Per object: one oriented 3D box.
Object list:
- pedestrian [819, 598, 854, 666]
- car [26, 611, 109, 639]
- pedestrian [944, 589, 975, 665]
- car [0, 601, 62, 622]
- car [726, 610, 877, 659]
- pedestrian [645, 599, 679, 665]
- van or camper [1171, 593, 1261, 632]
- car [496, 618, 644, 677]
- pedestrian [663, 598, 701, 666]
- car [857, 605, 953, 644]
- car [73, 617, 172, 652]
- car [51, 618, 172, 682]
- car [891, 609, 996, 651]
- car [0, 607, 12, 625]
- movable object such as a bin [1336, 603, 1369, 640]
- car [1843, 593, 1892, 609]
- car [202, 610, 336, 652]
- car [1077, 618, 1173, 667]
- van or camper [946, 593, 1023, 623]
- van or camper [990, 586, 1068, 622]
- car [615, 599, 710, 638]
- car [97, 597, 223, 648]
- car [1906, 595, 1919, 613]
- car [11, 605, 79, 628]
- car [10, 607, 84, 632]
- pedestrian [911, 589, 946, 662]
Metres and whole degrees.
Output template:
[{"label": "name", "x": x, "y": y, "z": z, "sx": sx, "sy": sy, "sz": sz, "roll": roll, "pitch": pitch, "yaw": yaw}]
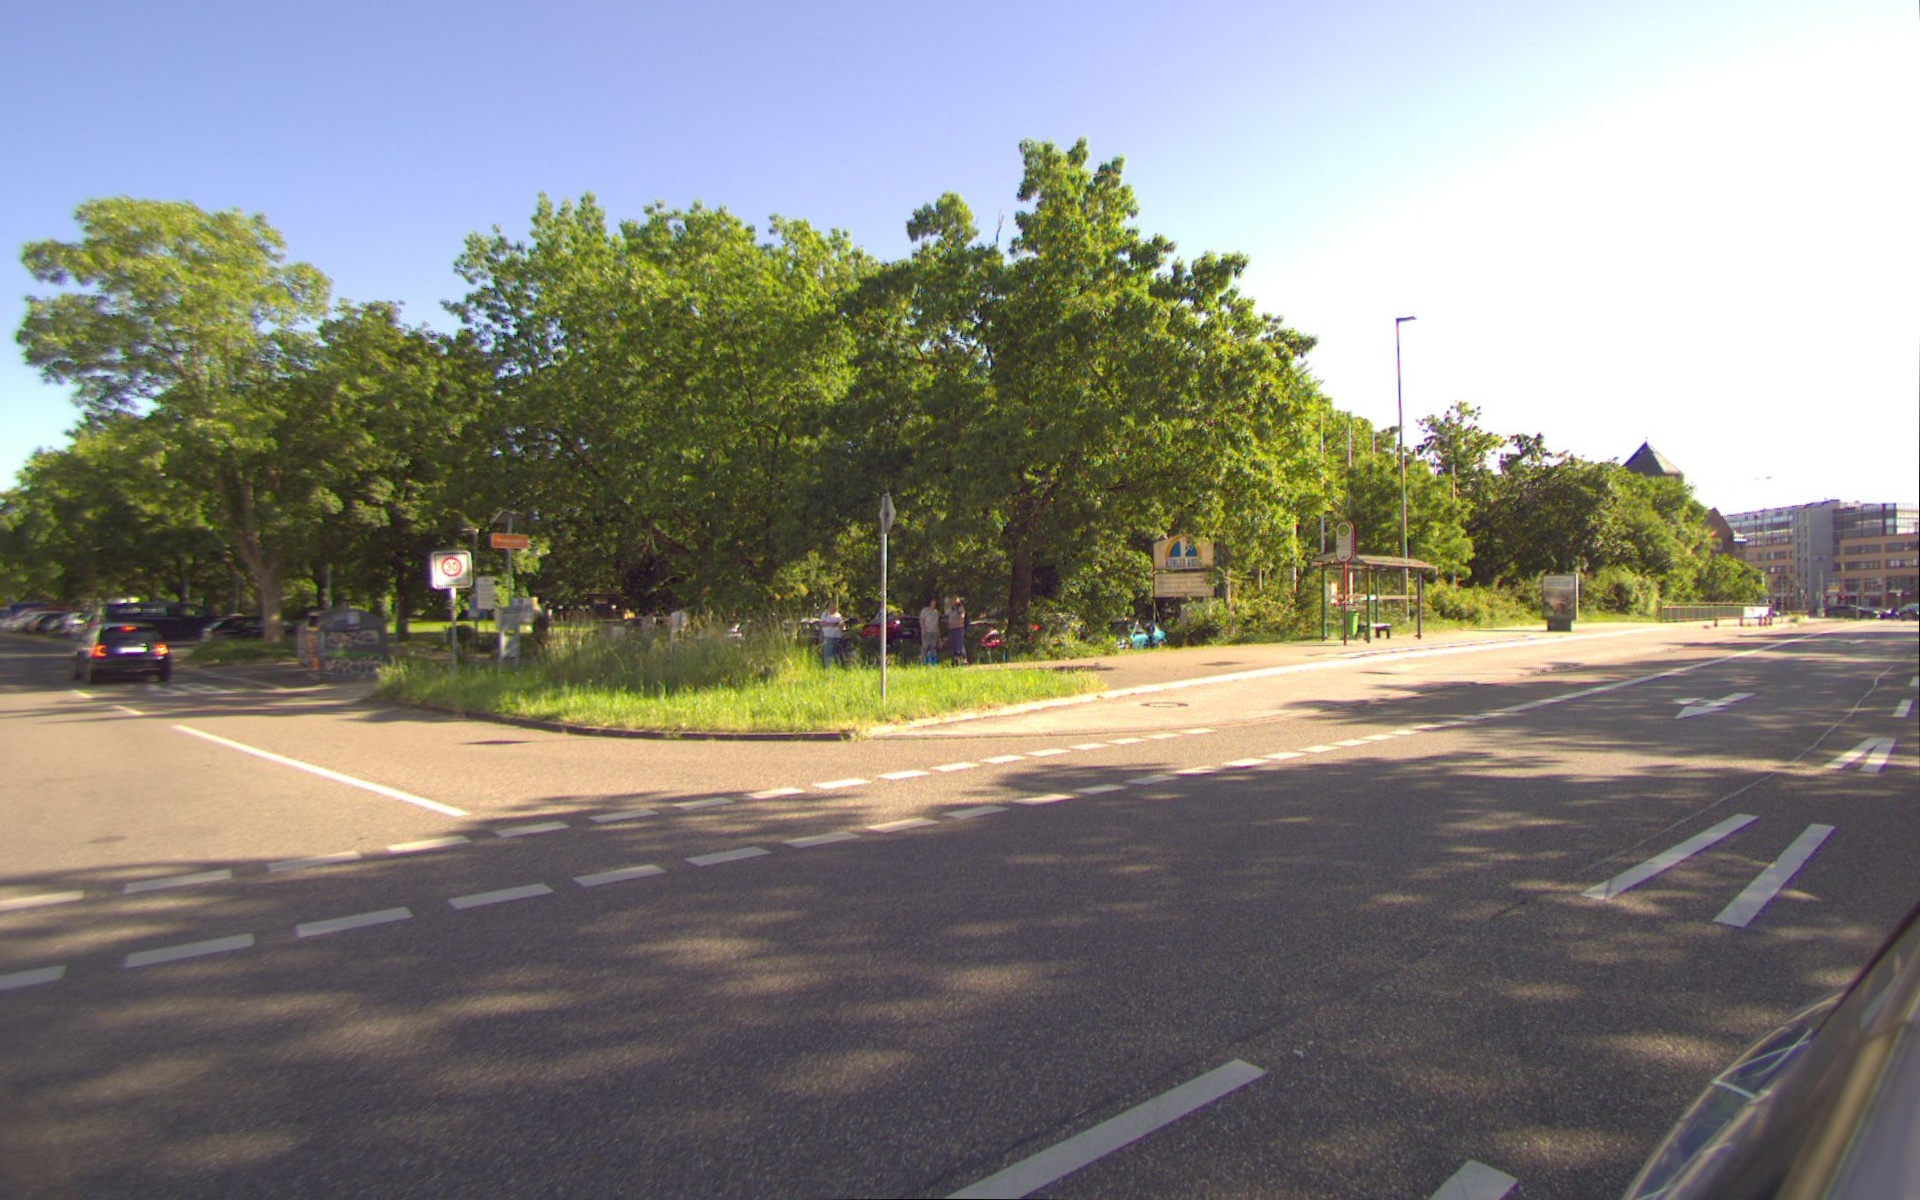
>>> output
[{"label": "pedestrian", "x": -2.870, "y": 0.728, "z": 23.517, "sx": 0.603, "sy": 1.538, "sz": 0.528, "roll": 0, "pitch": -1, "yaw": -42}, {"label": "car", "x": -58.978, "y": 1.665, "z": 66.937, "sx": 1.992, "sy": 1.677, "sz": 3.939, "roll": -3, "pitch": -1, "yaw": 43}, {"label": "pedestrian", "x": -0.006, "y": 0.620, "z": 23.252, "sx": 0.403, "sy": 1.722, "sz": 0.602, "roll": 0, "pitch": -1, "yaw": -44}, {"label": "car", "x": -82.142, "y": 0.981, "z": 89.475, "sx": 1.992, "sy": 1.677, "sz": 3.939, "roll": -3, "pitch": -1, "yaw": 43}, {"label": "car", "x": -5.322, "y": 1.203, "z": 34.501, "sx": 4.804, "sy": 1.558, "sz": 1.995, "roll": 2, "pitch": -4, "yaw": -42}, {"label": "pedestrian", "x": -7.531, "y": 0.808, "z": 25.564, "sx": 0.596, "sy": 1.640, "sz": 0.559, "roll": -3, "pitch": -1, "yaw": 40}, {"label": "van or camper", "x": 13.349, "y": 0.625, "z": 52.651, "sx": 2.448, "sy": 1.937, "sz": 5.248, "roll": -1, "pitch": 0, "yaw": 41}, {"label": "car", "x": -12.339, "y": 1.460, "z": 32.132, "sx": 3.931, "sy": 1.628, "sz": 1.996, "roll": -2, "pitch": -1, "yaw": -41}, {"label": "pedestrian", "x": -6.857, "y": 0.777, "z": 24.979, "sx": 0.702, "sy": 1.640, "sz": 0.559, "roll": -3, "pitch": -1, "yaw": 40}, {"label": "car", "x": -2.488, "y": 1.111, "z": 46.073, "sx": 3.930, "sy": 1.616, "sz": 1.997, "roll": -2, "pitch": -1, "yaw": -40}, {"label": "car", "x": -44.583, "y": 1.805, "z": 53.924, "sx": 3.934, "sy": 1.677, "sz": 1.995, "roll": -2, "pitch": -1, "yaw": -44}, {"label": "car", "x": -22.114, "y": 1.239, "z": 26.341, "sx": 3.541, "sy": 1.522, "sz": 1.658, "roll": -1, "pitch": 0, "yaw": 37}, {"label": "car", "x": -0.671, "y": 1.374, "z": 44.881, "sx": 4.695, "sy": 1.773, "sz": 1.754, "roll": 2, "pitch": -4, "yaw": -42}, {"label": "car", "x": -93.355, "y": 1.574, "z": 96.681, "sx": 1.992, "sy": 1.677, "sz": 3.939, "roll": -3, "pitch": -1, "yaw": 43}, {"label": "movable object such as a bin", "x": 11.317, "y": 0.610, "z": 29.197, "sx": 0.569, "sy": 1.043, "sz": 0.727, "roll": 0, "pitch": -1, "yaw": -45}, {"label": "car", "x": 101.228, "y": 0.103, "z": 112.952, "sx": 3.988, "sy": 1.653, "sz": 1.968, "roll": -1, "pitch": -1, "yaw": 45}, {"label": "car", "x": -25.260, "y": 1.118, "z": 37.050, "sx": 3.926, "sy": 1.314, "sz": 1.998, "roll": -2, "pitch": -1, "yaw": -37}, {"label": "car", "x": 6.259, "y": 1.561, "z": 38.205, "sx": 3.553, "sy": 1.658, "sz": 1.763, "roll": -1, "pitch": -1, "yaw": -43}, {"label": "van or camper", "x": 1.691, "y": 0.491, "z": 68.082, "sx": 2.448, "sy": 1.937, "sz": 5.248, "roll": -1, "pitch": 0, "yaw": 41}, {"label": "van or camper", "x": 4.523, "y": 0.251, "z": 65.629, "sx": 2.447, "sy": 2.186, "sz": 5.251, "roll": -1, "pitch": 0, "yaw": 40}, {"label": "car", "x": -10.963, "y": 0.664, "z": 37.224, "sx": 3.634, "sy": 1.290, "sz": 1.600, "roll": -1, "pitch": 1, "yaw": 41}, {"label": "car", "x": -35.471, "y": 0.954, "z": 44.926, "sx": 4.277, "sy": 2.099, "sz": 1.996, "roll": 0, "pitch": -1, "yaw": -42}, {"label": "car", "x": 82.759, "y": 0.326, "z": 85.816, "sx": 1.801, "sy": 1.492, "sz": 3.988, "roll": -1, "pitch": 0, "yaw": 10}, {"label": "car", "x": -74.342, "y": 1.342, "z": 82.216, "sx": 1.992, "sy": 1.677, "sz": 3.939, "roll": -3, "pitch": -1, "yaw": 43}, {"label": "car", "x": -67.813, "y": 1.446, "z": 75.225, "sx": 1.992, "sy": 1.677, "sz": 3.939, "roll": -3, "pitch": -1, "yaw": 43}, {"label": "pedestrian", "x": -0.726, "y": 0.584, "z": 23.354, "sx": 0.542, "sy": 1.655, "sz": 0.622, "roll": 0, "pitch": -1, "yaw": -44}]
